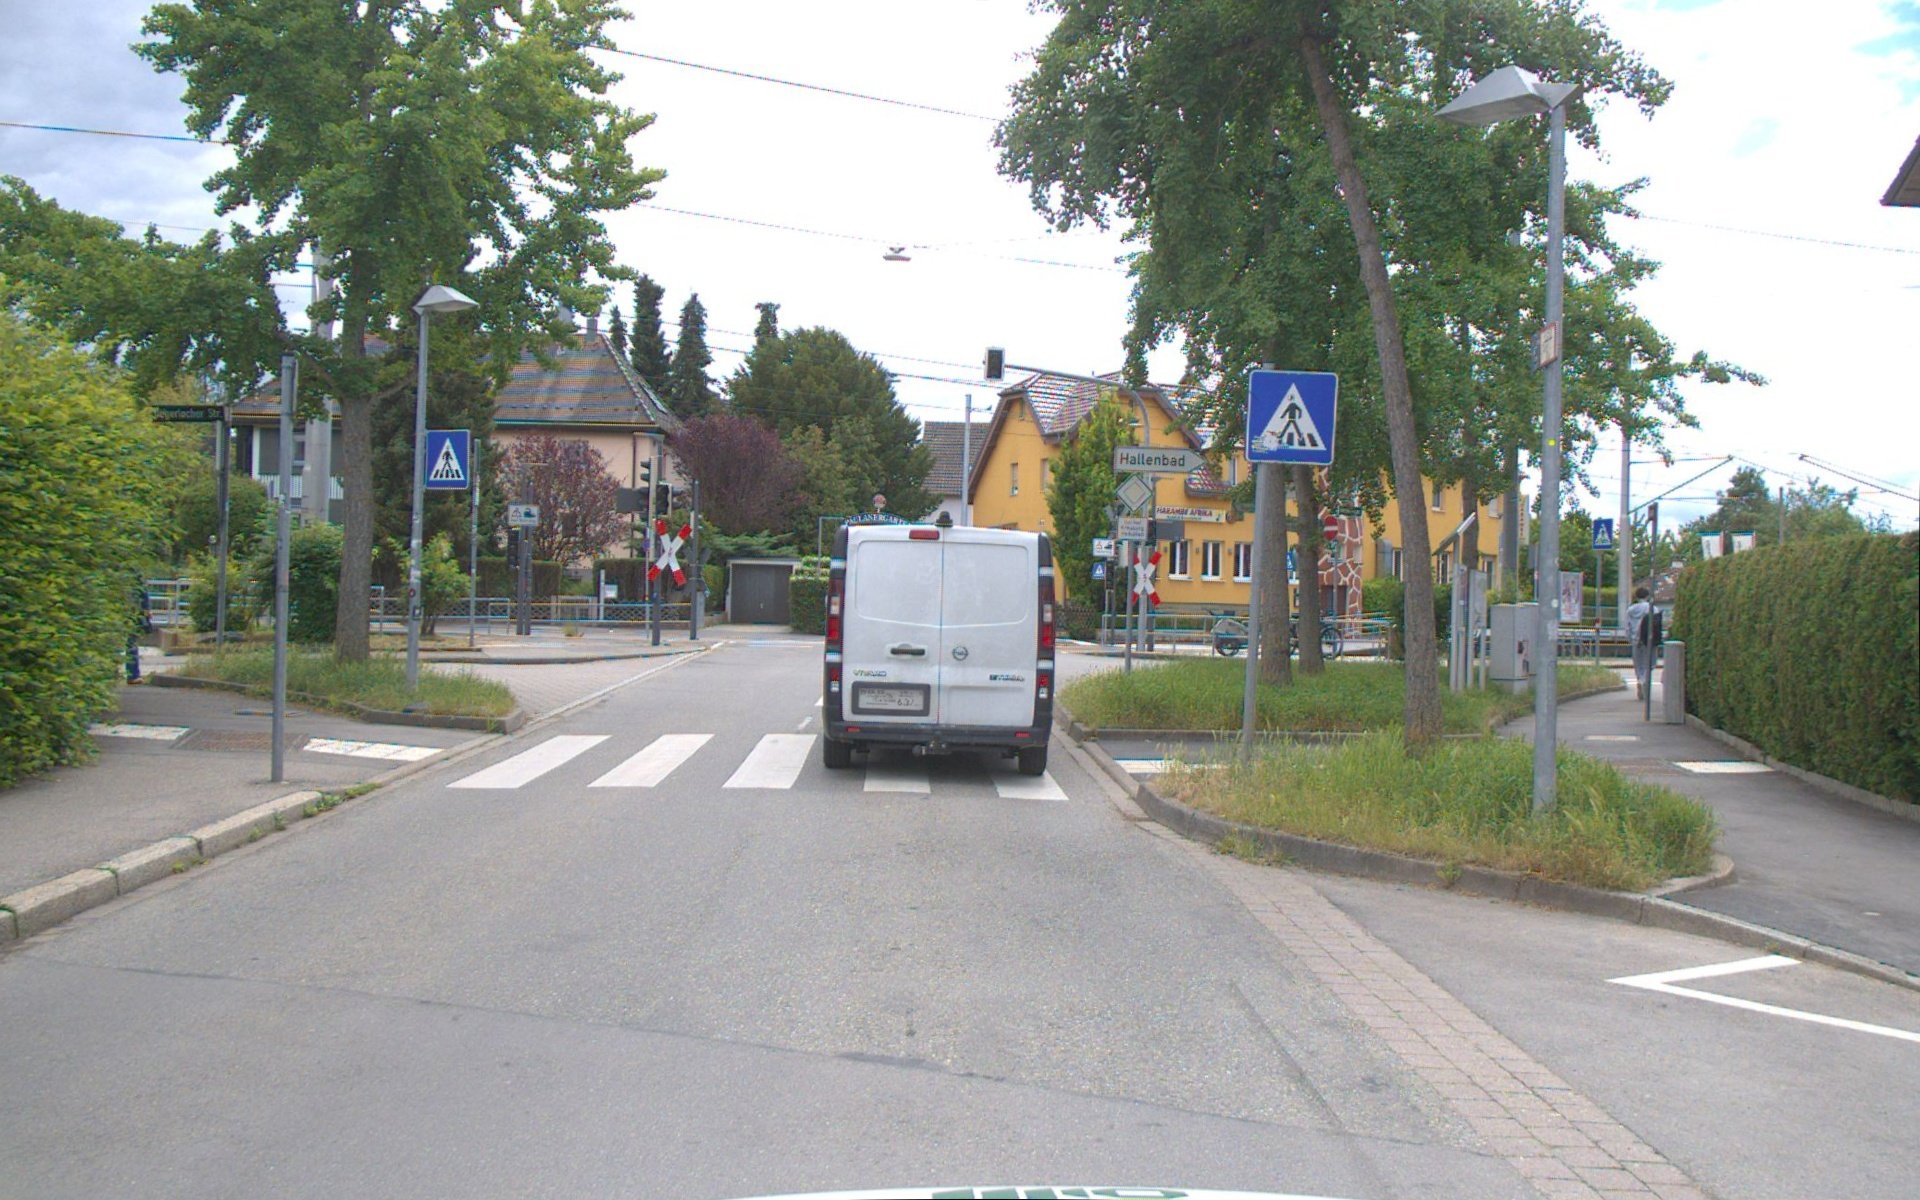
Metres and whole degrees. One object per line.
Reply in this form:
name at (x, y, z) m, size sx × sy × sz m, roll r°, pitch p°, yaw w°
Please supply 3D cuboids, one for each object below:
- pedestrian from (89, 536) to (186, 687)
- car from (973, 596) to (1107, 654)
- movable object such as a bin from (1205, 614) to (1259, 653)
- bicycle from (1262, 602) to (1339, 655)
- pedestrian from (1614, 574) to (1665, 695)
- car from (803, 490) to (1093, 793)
pedestrian at (-9.274, 0.130, 18.665) m, size 0.585 × 1.648 × 0.676 m, roll 4°, pitch 0°, yaw 29°
car at (2.536, 0.793, 51.344) m, size 2.313 × 1.591 × 4.361 m, roll 3°, pitch 0°, yaw 32°
movable object such as a bin at (6.170, 0.755, 37.553) m, size 1.070 × 0.839 × 0.579 m, roll 2°, pitch 0°, yaw -6°
bicycle at (7.758, 0.644, 37.699) m, size 1.656 × 1.176 × 0.465 m, roll 1°, pitch -1°, yaw -10°
pedestrian at (11.184, 0.556, 27.204) m, size 0.613 × 1.948 × 0.828 m, roll 0°, pitch 0°, yaw 34°
car at (-0.237, 0.294, 14.977) m, size 2.075 × 2.171 × 5.437 m, roll 2°, pitch 0°, yaw -3°
